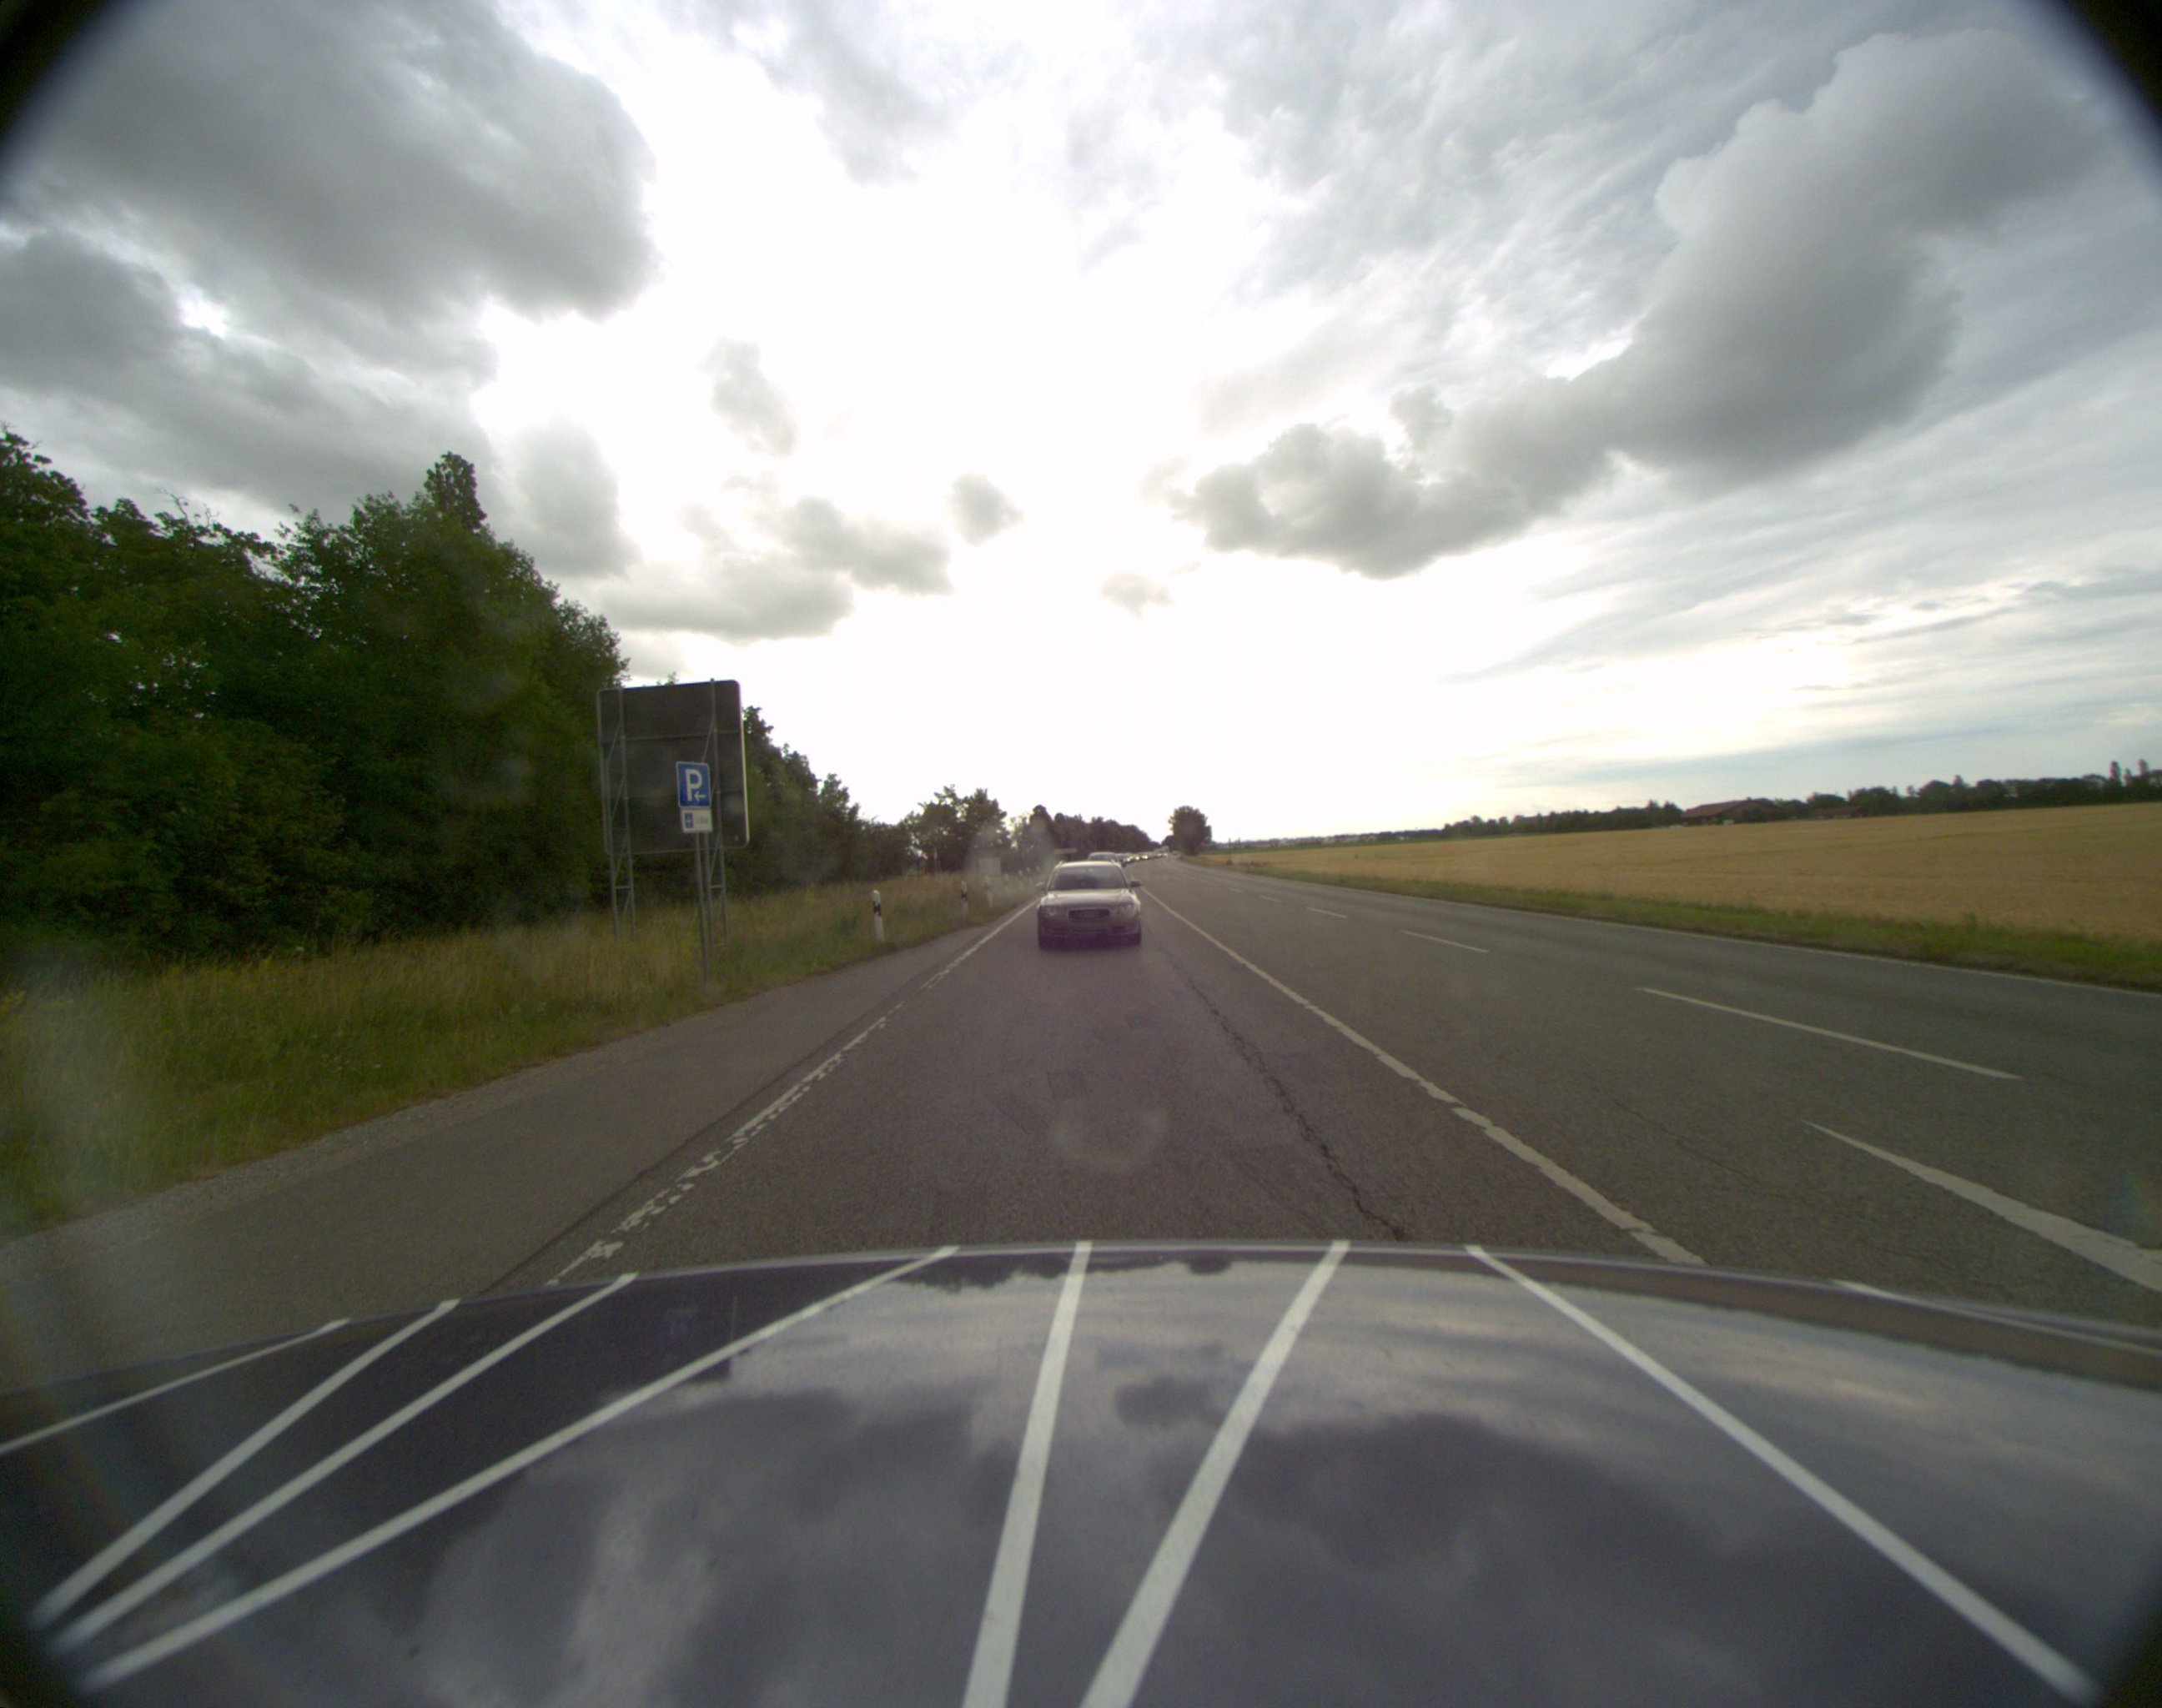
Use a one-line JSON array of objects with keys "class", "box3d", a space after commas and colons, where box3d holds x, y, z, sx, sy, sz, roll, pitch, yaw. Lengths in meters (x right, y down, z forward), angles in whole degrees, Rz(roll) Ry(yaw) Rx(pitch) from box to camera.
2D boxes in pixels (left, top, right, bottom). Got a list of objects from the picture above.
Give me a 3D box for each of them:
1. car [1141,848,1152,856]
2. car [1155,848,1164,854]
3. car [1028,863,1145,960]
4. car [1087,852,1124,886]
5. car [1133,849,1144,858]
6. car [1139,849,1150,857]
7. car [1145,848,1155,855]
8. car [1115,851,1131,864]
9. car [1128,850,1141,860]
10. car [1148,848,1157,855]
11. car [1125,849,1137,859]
[{"class": "car", "box3d": [14.770, -0.436, 170.944, 1.953, 1.573, 4.140, -2, 0, 12]}, {"class": "car", "box3d": [21.565, -0.930, 209.218, 1.792, 1.531, 4.140, -2, 0, 13]}, {"class": "car", "box3d": [0.117, 0.934, 14.193, 1.794, 1.415, 4.367, -2, 0, 1]}, {"class": "car", "box3d": [1.277, 0.727, 39.436, 1.793, 1.573, 4.368, -2, 0, 2]}, {"class": "car", "box3d": [10.997, -0.086, 146.091, 1.793, 1.573, 4.139, -2, 0, 8]}, {"class": "car", "box3d": [13.445, -0.314, 161.478, 1.792, 1.573, 4.140, -2, 0, 11]}, {"class": "car", "box3d": [16.235, -0.530, 179.224, 1.792, 1.573, 4.140, -2, 0, 11]}, {"class": "car", "box3d": [5.135, 0.401, 92.349, 1.793, 1.573, 4.369, -2, 0, 5]}, {"class": "car", "box3d": [8.526, 0.120, 121.227, 1.793, 1.573, 4.189, -2, 0, 6]}, {"class": "car", "box3d": [17.805, -0.623, 189.025, 1.792, 1.573, 4.140, -2, 0, 11]}, {"class": "car", "box3d": [8.838, 0.029, 134.181, 1.792, 1.573, 4.139, -2, 0, 8]}]
